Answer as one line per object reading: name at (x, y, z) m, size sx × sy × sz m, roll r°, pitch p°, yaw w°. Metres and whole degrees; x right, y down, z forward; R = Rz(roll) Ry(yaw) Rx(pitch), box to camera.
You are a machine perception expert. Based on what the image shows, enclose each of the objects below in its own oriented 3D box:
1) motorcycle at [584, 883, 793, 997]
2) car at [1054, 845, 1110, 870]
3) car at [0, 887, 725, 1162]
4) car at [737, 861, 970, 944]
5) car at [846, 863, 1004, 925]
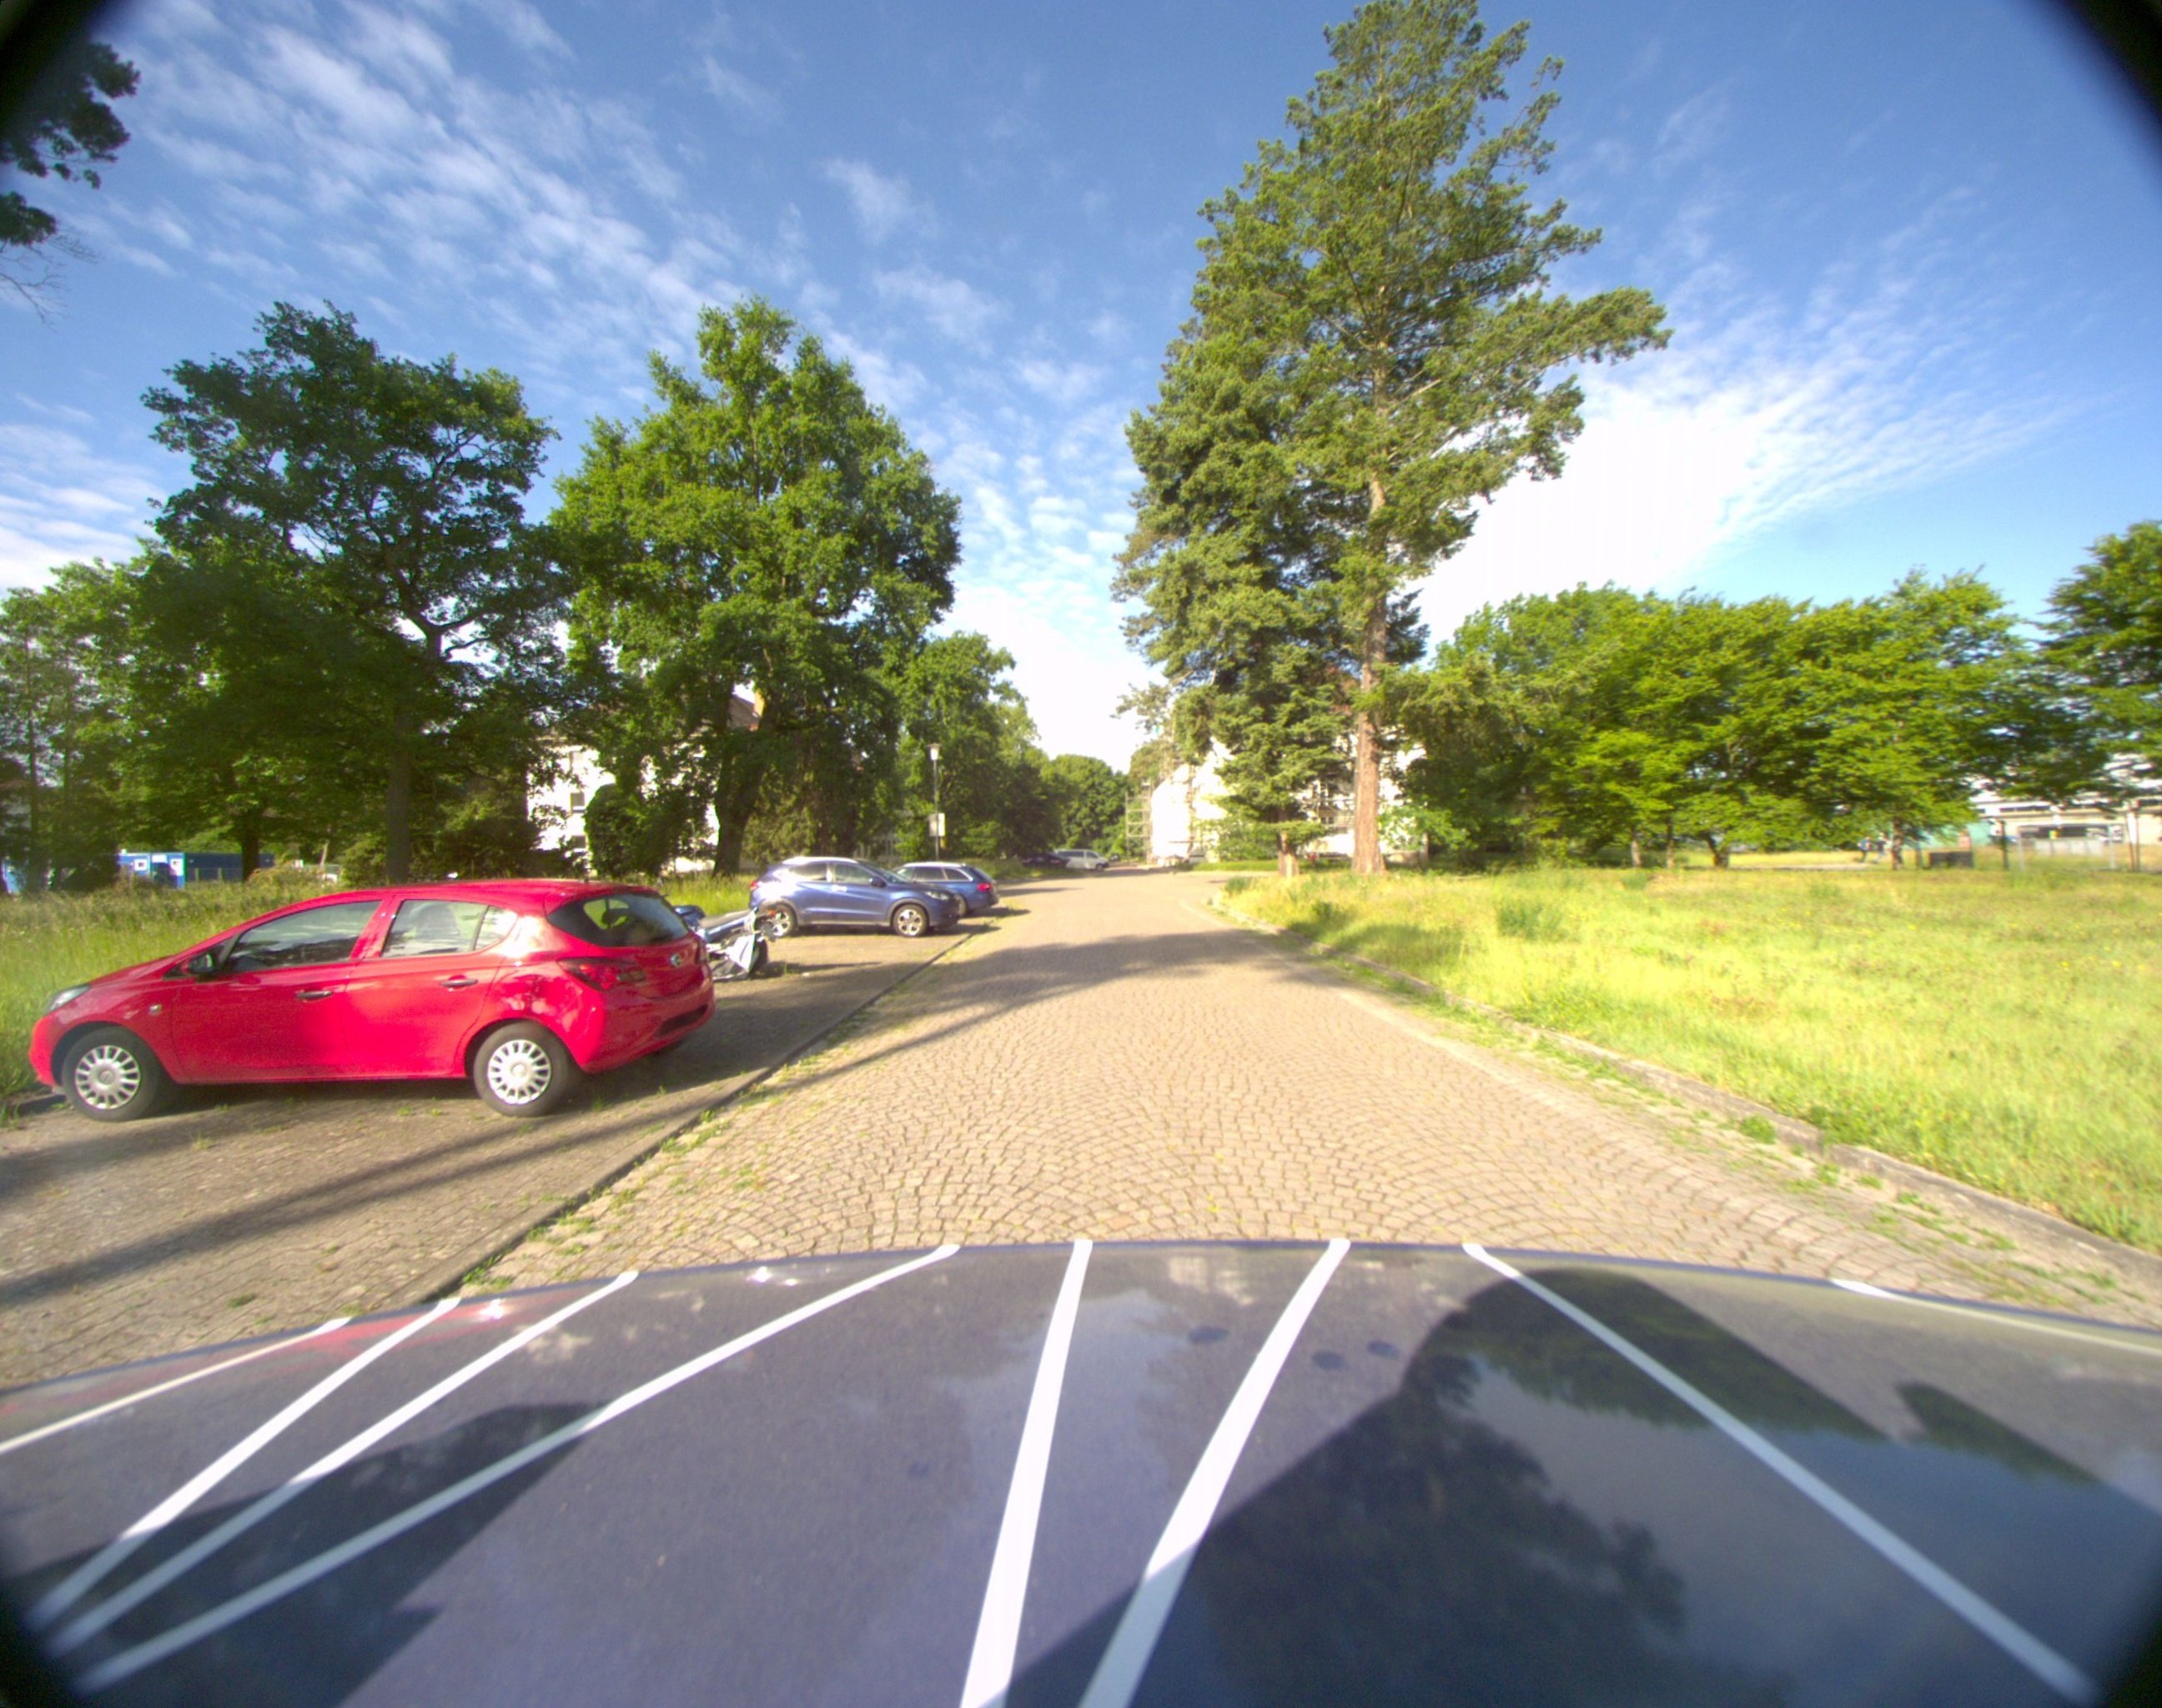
motorcycle at (-5.056, 1.092, 9.882) m, size 2.235 × 1.345 × 0.879 m, roll -1°, pitch 1°, yaw 3°
car at (0.094, 0.276, 69.089) m, size 4.993 × 2.123 × 2.164 m, roll -1°, pitch 1°, yaw -1°
car at (-4.893, 1.069, 5.345) m, size 3.997 × 1.487 × 1.540 m, roll -2°, pitch 1°, yaw 0°
car at (-4.549, 0.954, 15.629) m, size 4.273 × 1.589 × 1.651 m, roll 0°, pitch 1°, yaw 0°
car at (-4.085, 1.042, 20.352) m, size 3.809 × 1.458 × 1.747 m, roll -2°, pitch 1°, yaw 2°
